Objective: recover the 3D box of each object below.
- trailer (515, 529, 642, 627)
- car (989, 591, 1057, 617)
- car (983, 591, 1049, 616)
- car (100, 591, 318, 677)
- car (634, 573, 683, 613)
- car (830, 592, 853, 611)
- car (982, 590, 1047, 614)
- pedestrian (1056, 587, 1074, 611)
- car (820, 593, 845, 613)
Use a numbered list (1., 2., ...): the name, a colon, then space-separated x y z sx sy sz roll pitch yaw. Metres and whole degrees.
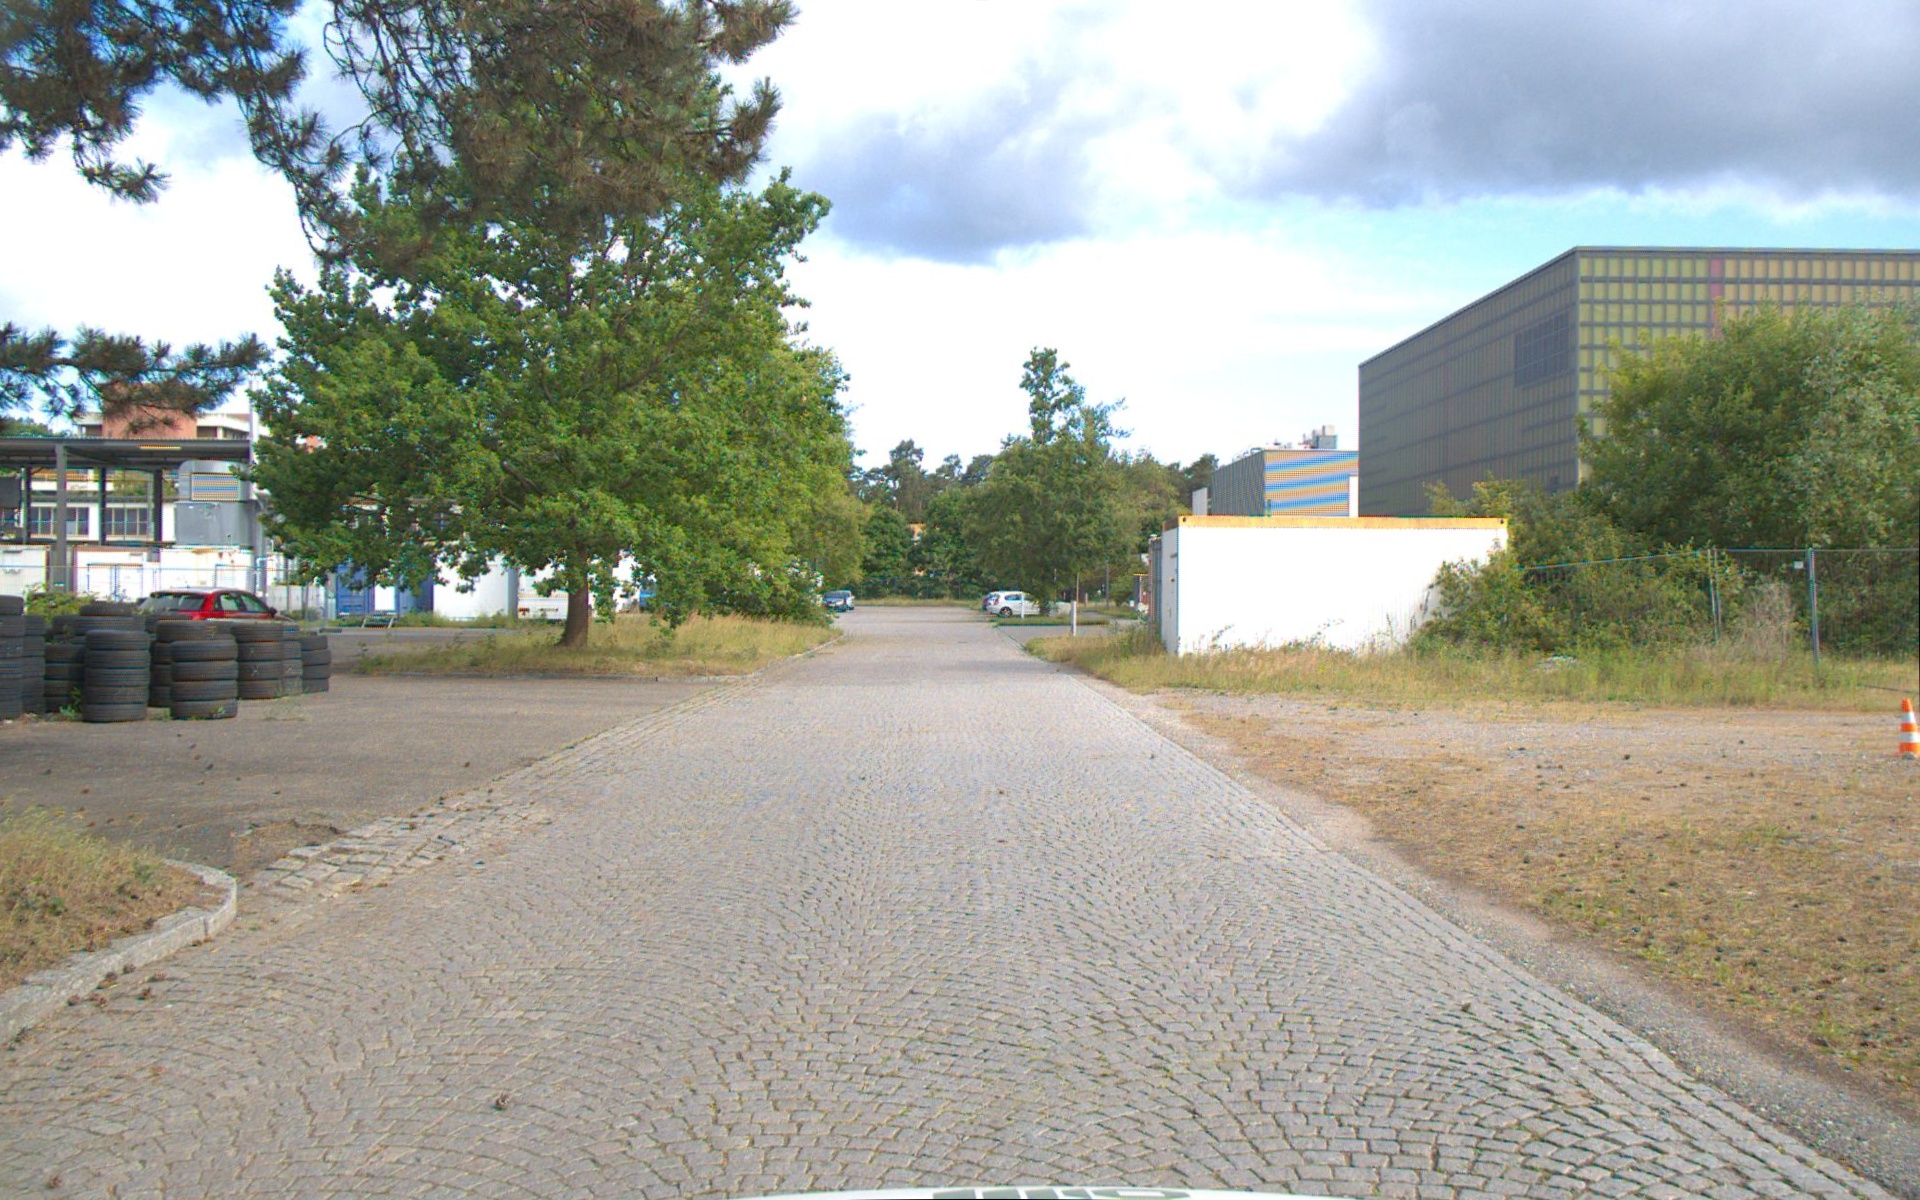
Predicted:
1. trailer: -15.704 -0.874 68.966 2.602 3.770 10.723 0 0 1
2. car: 3.660 0.259 96.522 3.906 1.481 2.000 1 -1 -1
3. car: 3.332 0.198 98.684 3.906 1.481 1.697 0 0 -1
4. car: -13.635 0.570 30.331 1.785 1.457 4.221 0 0 5
5. car: -19.726 -0.454 108.399 1.952 2.567 5.619 0 0 2
6. car: -9.326 0.136 130.380 1.714 1.480 3.997 0 0 -3
7. car: 3.334 0.124 101.725 3.906 1.481 1.769 0 0 -1
8. pedestrian: 6.927 -0.082 108.783 0.924 1.595 0.967 0 0 -15
9. car: -9.263 0.209 120.216 1.714 1.388 3.997 0 0 -3
